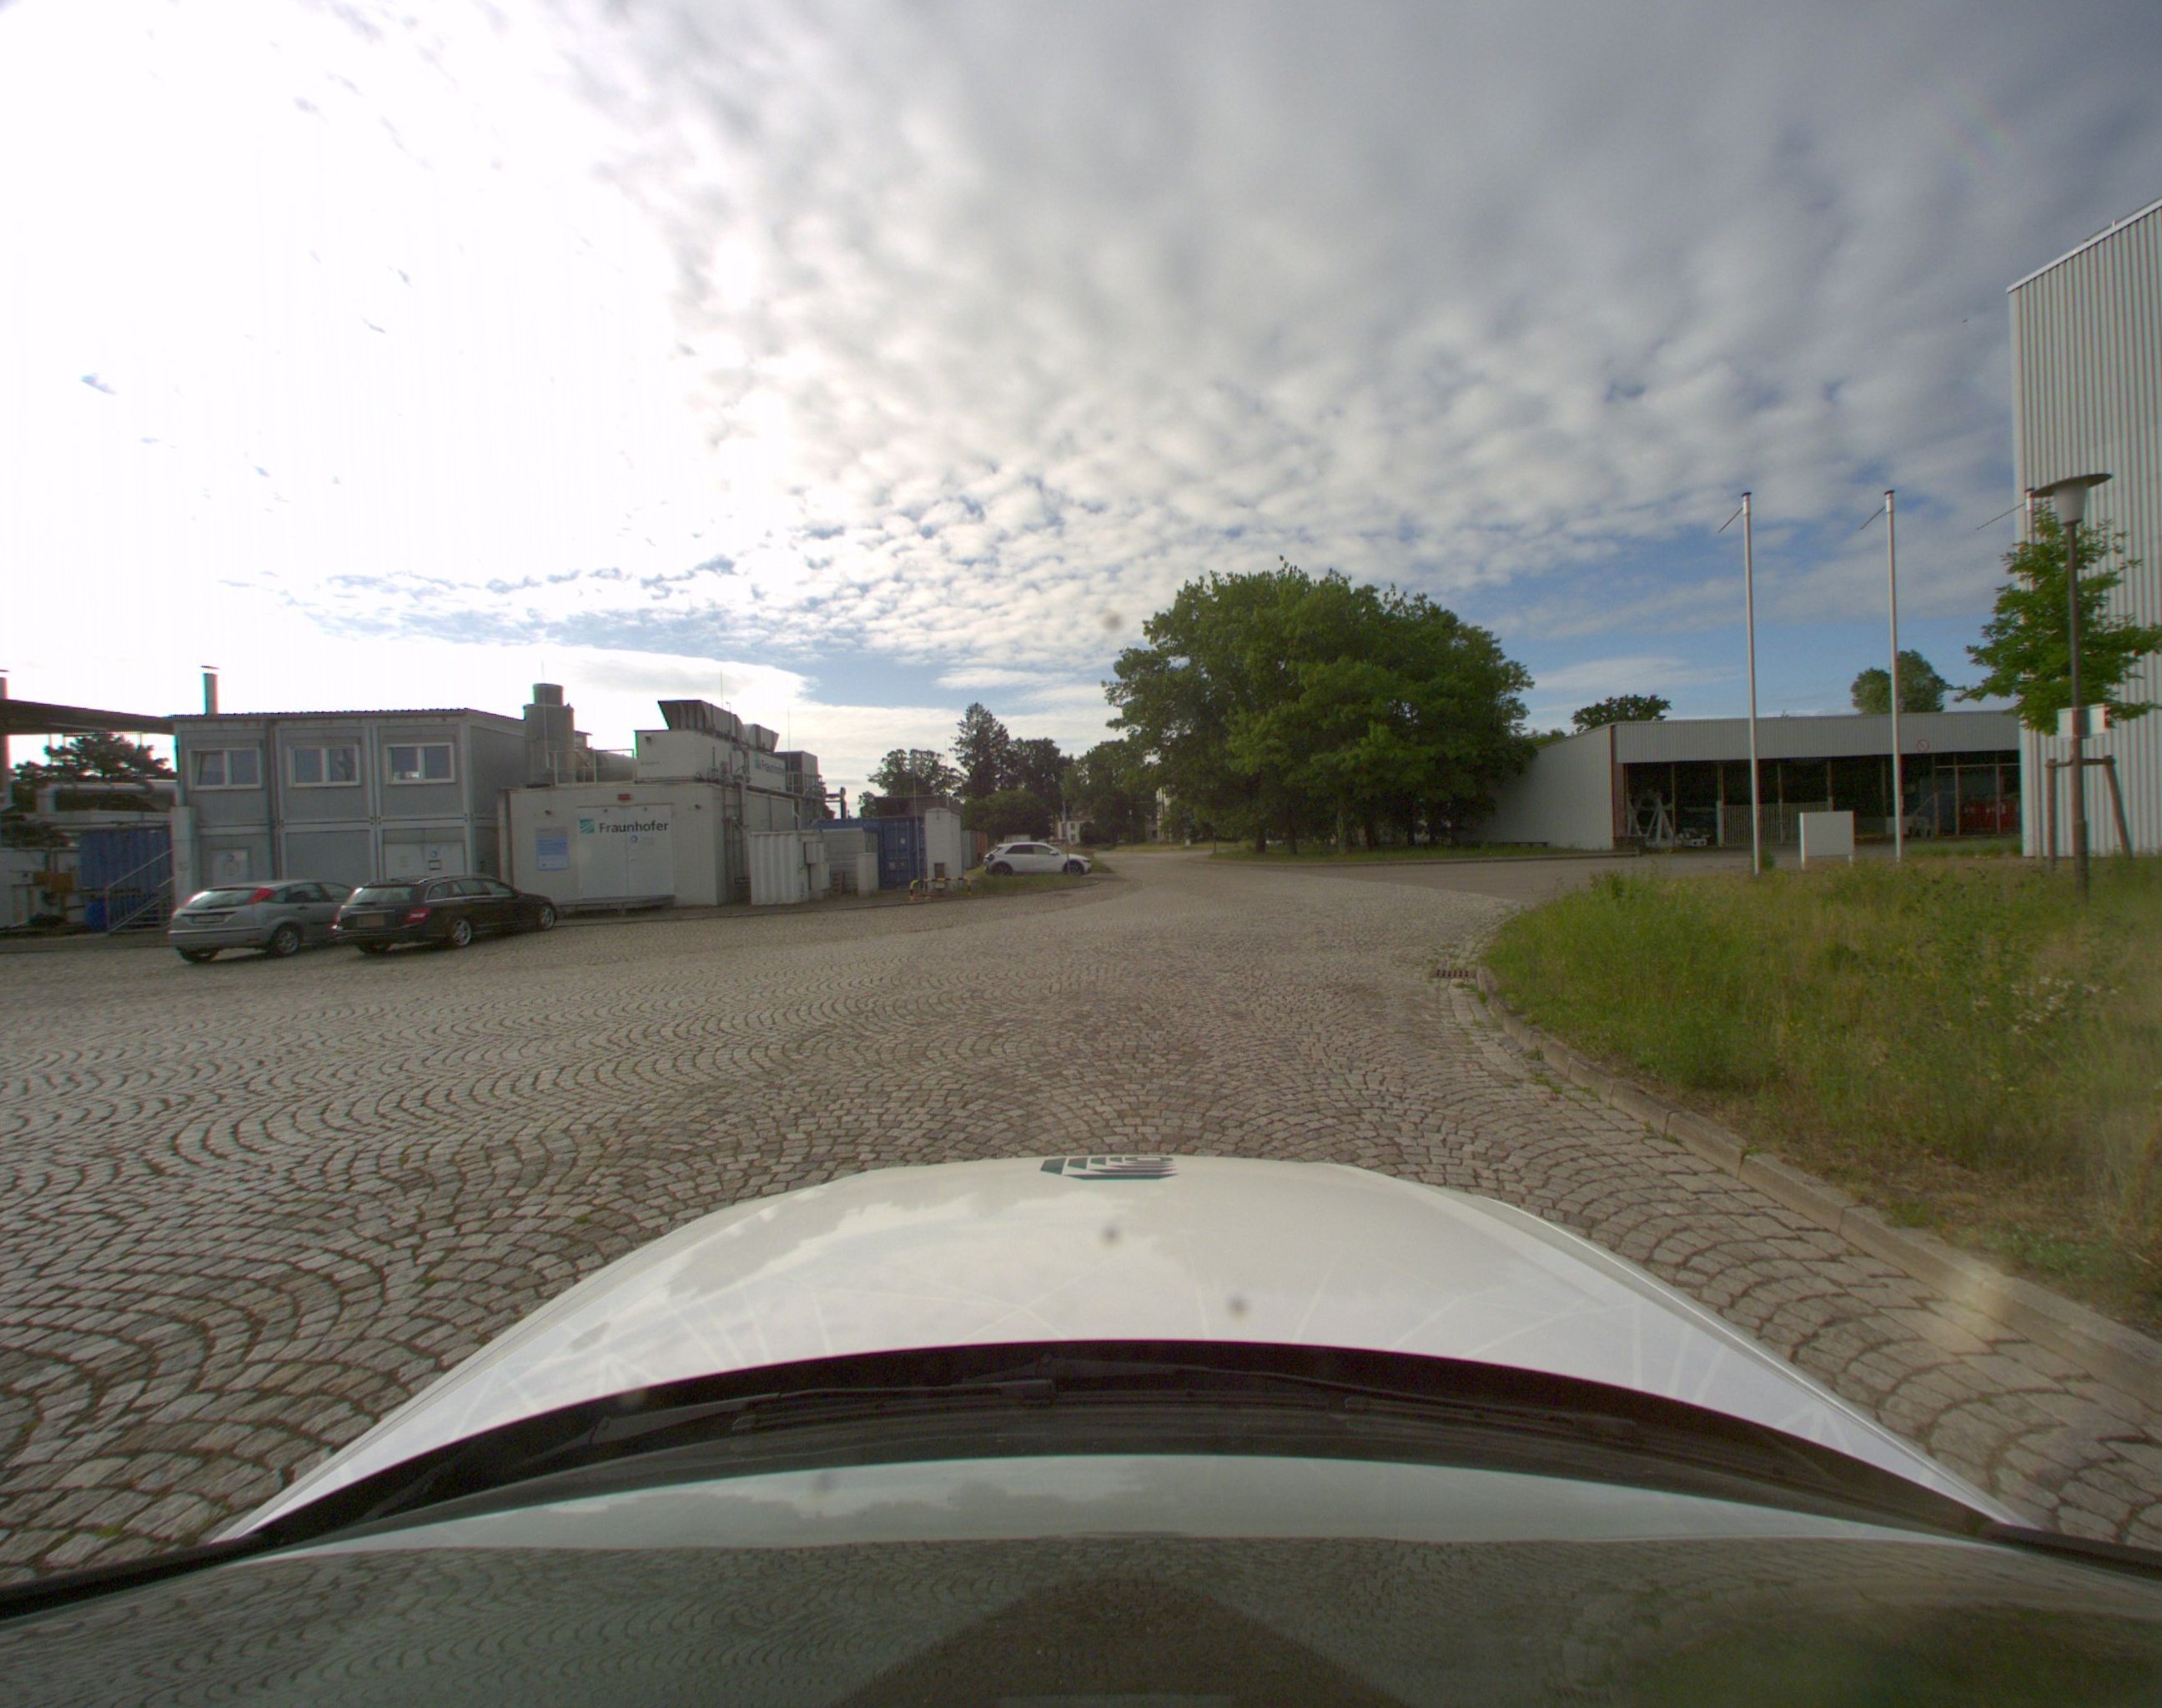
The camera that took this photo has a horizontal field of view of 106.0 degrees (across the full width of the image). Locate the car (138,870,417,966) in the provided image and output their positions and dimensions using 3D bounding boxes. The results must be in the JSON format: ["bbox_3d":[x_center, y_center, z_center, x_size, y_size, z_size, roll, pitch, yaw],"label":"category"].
[{"bbox_3d":[-16.381,1.207,16.973,1.903,1.475,4.040,-2,2,-5],"label":"car"}]

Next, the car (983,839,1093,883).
[{"bbox_3d":[-1.789,0.281,34.823,4.521,1.599,1.999,-3,1,-1],"label":"car"}]

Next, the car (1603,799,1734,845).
[{"bbox_3d":[28.362,-1.473,39.601,2.237,2.013,5.329,-3,1,-4],"label":"car"}]

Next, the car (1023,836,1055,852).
[{"bbox_3d":[-7.076,-1.641,136.158,5.160,2.337,1.997,-3,0,-4],"label":"car"}]

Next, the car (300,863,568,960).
[{"bbox_3d":[-13.131,1.064,17.010,2.032,1.453,4.525,-2,2,-3],"label":"car"}]
